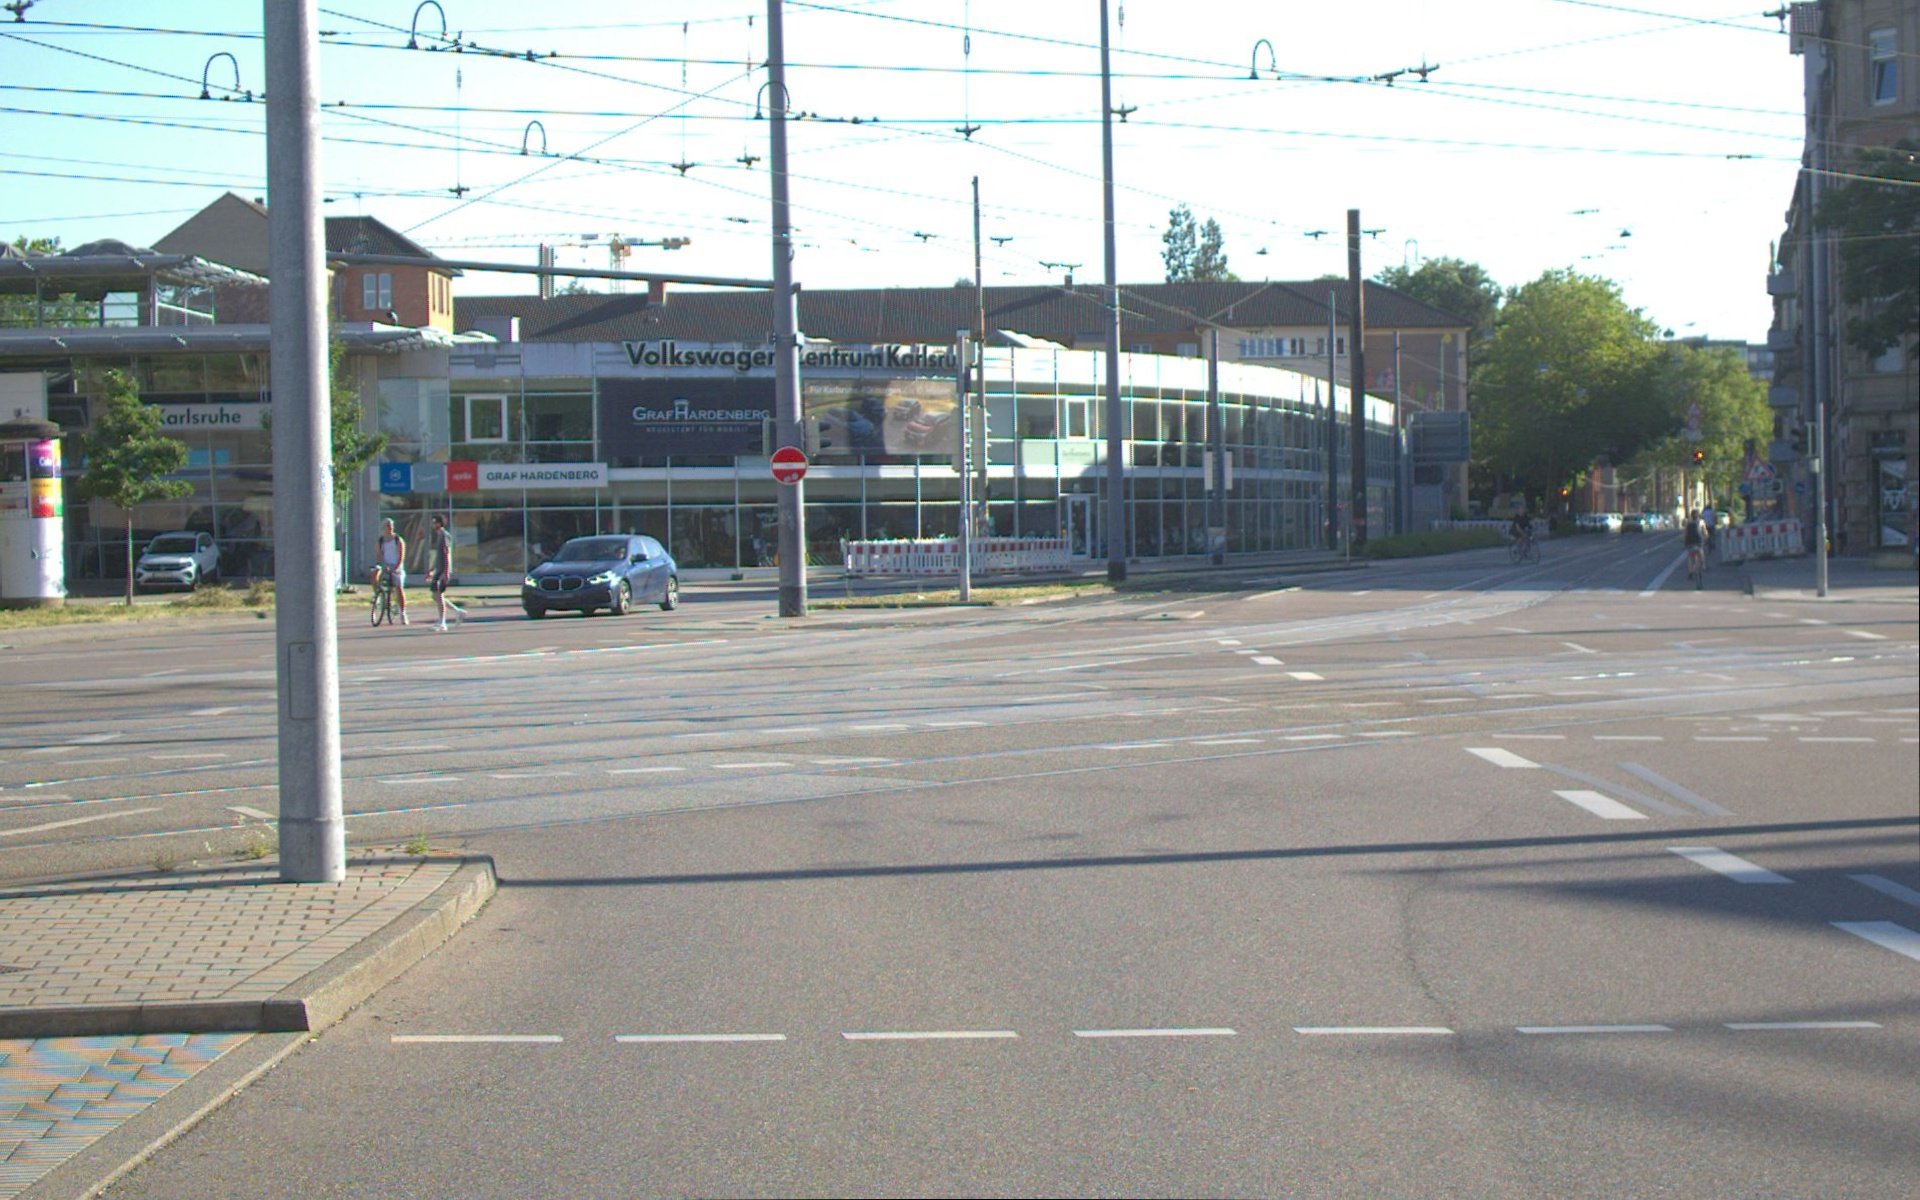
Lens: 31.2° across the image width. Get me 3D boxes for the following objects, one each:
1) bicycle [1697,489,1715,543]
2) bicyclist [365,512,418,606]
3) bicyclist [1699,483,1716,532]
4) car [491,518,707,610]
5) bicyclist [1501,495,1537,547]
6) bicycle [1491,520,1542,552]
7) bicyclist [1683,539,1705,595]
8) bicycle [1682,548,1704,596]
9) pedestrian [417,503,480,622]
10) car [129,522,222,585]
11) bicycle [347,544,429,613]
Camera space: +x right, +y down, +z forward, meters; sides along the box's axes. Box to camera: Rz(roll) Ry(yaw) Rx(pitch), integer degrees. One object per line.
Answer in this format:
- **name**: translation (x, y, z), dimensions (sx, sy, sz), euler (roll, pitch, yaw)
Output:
- **bicycle**: translation (28.198, -3.175, 129.938), dimensions (0.618, 2.007, 2.398), euler (1, 0, 13)
- **bicyclist**: translation (-9.872, -0.710, 59.715), dimensions (0.598, 1.610, 0.822), euler (1, 0, 17)
- **bicyclist**: translation (28.239, -3.487, 129.871), dimensions (0.599, 1.803, 0.827), euler (1, 0, 13)
- **car**: translation (-6.432, -0.631, 61.634), dimensions (1.996, 1.579, 3.994), euler (1, 1, 27)
- **bicyclist**: translation (17.034, -2.395, 104.799), dimensions (0.771, 1.571, 0.762), euler (1, 0, -29)
- **bicycle**: translation (16.971, -1.952, 104.821), dimensions (0.657, 0.949, 1.600), euler (1, 1, -30)
- **bicyclist**: translation (14.827, -0.665, 69.478), dimensions (0.408, 1.112, 0.399), euler (1, 0, 11)
- **bicycle**: translation (14.787, -0.563, 69.368), dimensions (0.410, 0.938, 1.844), euler (1, 1, 12)
- **pedestrian**: translation (-8.165, -0.595, 54.903), dimensions (0.795, 1.880, 0.758), euler (1, 0, 7)
- **car**: translation (-22.642, -1.334, 99.296), dimensions (1.993, 1.744, 4.001), euler (1, 1, -4)
- **bicycle**: translation (-9.913, -0.373, 59.626), dimensions (0.613, 1.185, 1.867), euler (1, 1, 17)
